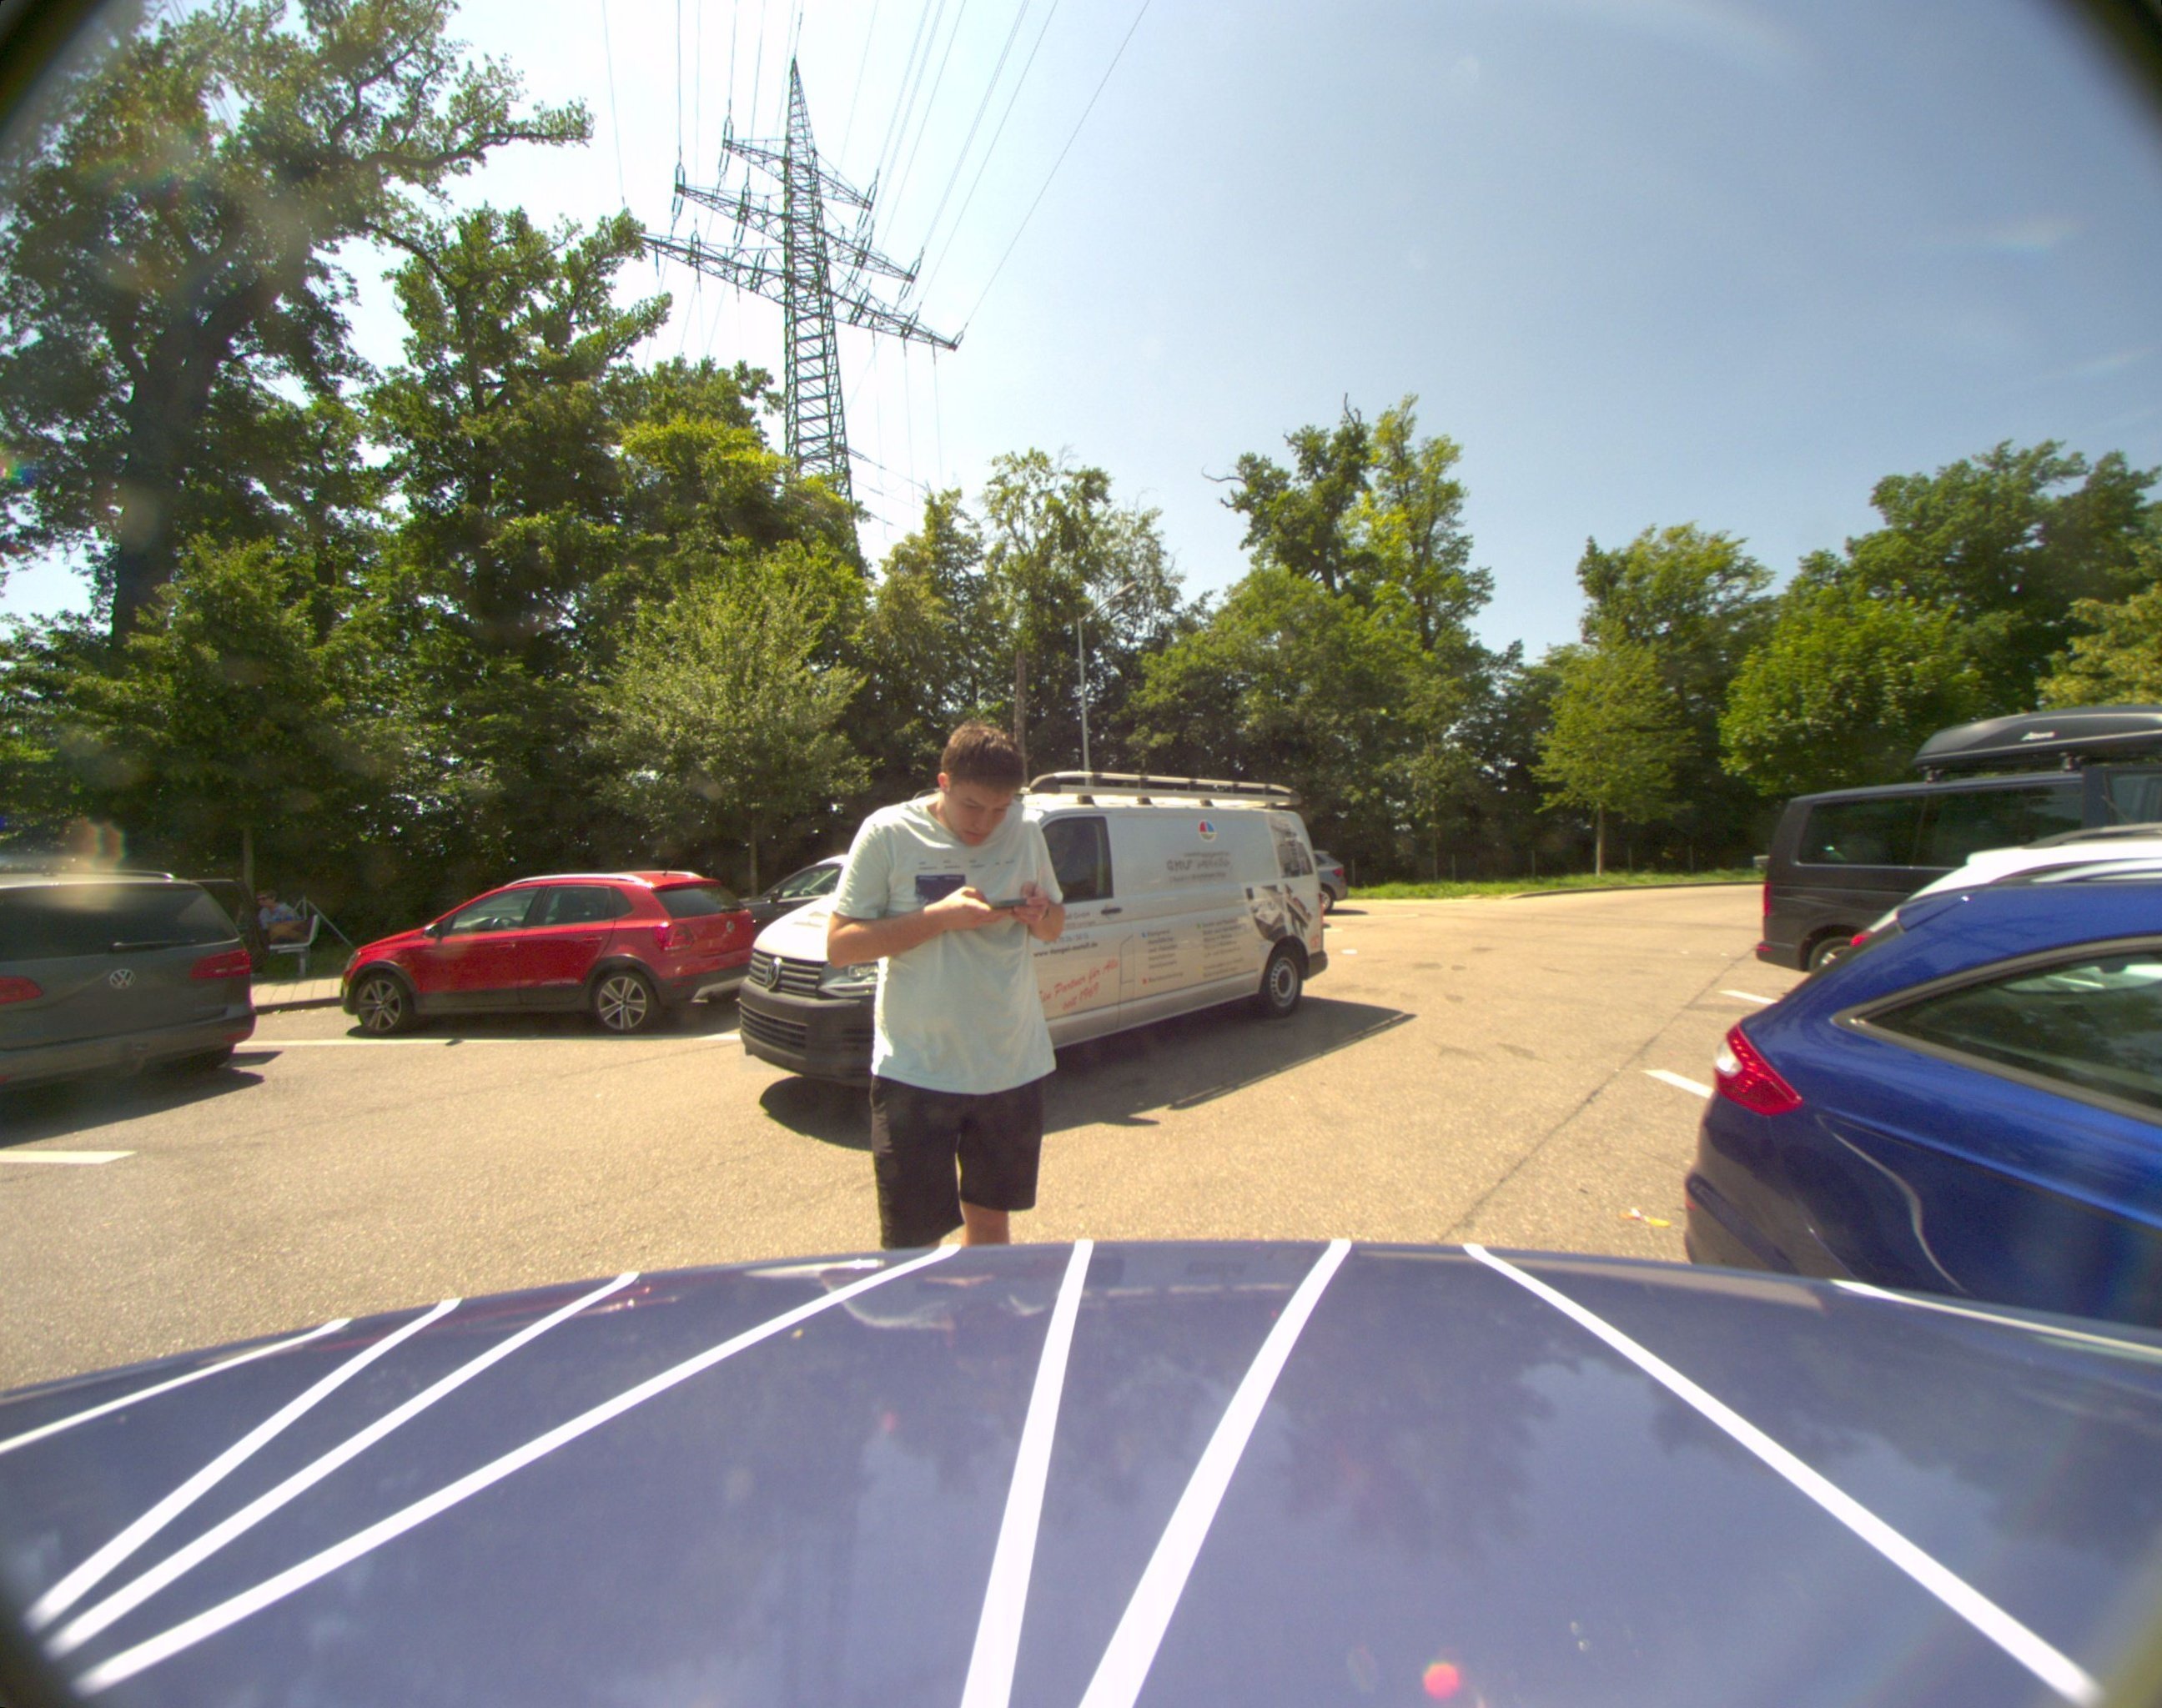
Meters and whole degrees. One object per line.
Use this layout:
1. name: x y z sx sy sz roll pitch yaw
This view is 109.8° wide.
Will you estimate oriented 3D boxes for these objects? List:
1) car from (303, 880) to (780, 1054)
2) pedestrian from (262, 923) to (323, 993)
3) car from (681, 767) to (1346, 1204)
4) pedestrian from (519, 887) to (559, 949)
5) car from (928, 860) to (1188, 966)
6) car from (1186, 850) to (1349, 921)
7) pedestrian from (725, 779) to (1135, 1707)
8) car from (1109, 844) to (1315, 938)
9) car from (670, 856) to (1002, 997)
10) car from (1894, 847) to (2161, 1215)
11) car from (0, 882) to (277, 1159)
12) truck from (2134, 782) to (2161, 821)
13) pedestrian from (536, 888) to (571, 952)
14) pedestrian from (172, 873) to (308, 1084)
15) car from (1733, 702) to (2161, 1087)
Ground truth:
1. car: -5.250 1.073 7.659 3.745 1.458 1.621 -2 0 7
2. pedestrian: -10.871 1.424 10.486 0.503 0.874 0.512 -2 0 -39
3. car: 0.013 0.595 6.202 5.445 2.092 1.839 -2 1 -45
4. pedestrian: -10.949 1.287 15.352 0.413 1.186 0.443 -2 1 12
5. car: -0.290 0.883 12.037 3.773 1.445 1.848 -2 0 4
6. car: 4.339 0.731 18.125 3.585 1.493 1.707 -2 1 8
7. pedestrian: -0.380 0.771 1.849 0.741 1.818 0.613 -2 0 -34
8. car: 2.561 0.718 15.406 3.850 1.678 1.755 -2 0 4
9. car: -3.118 0.904 10.243 3.866 1.607 1.709 -2 0 0
10. car: 4.710 0.657 2.213 1.344 1.352 3.114 -2 0 1
11. car: -8.358 1.099 5.415 3.903 1.607 1.705 -2 1 11
12. truck: 40.225 -1.968 27.104 1.168 1.367 2.882 -2 -1 -19
13. pedestrian: -10.097 1.262 14.556 0.366 1.186 0.356 -2 1 21
14. pedestrian: -7.295 1.040 6.609 0.481 1.712 0.589 -2 1 22
15. car: 7.300 0.229 5.262 1.788 2.304 4.084 -2 0 -5
